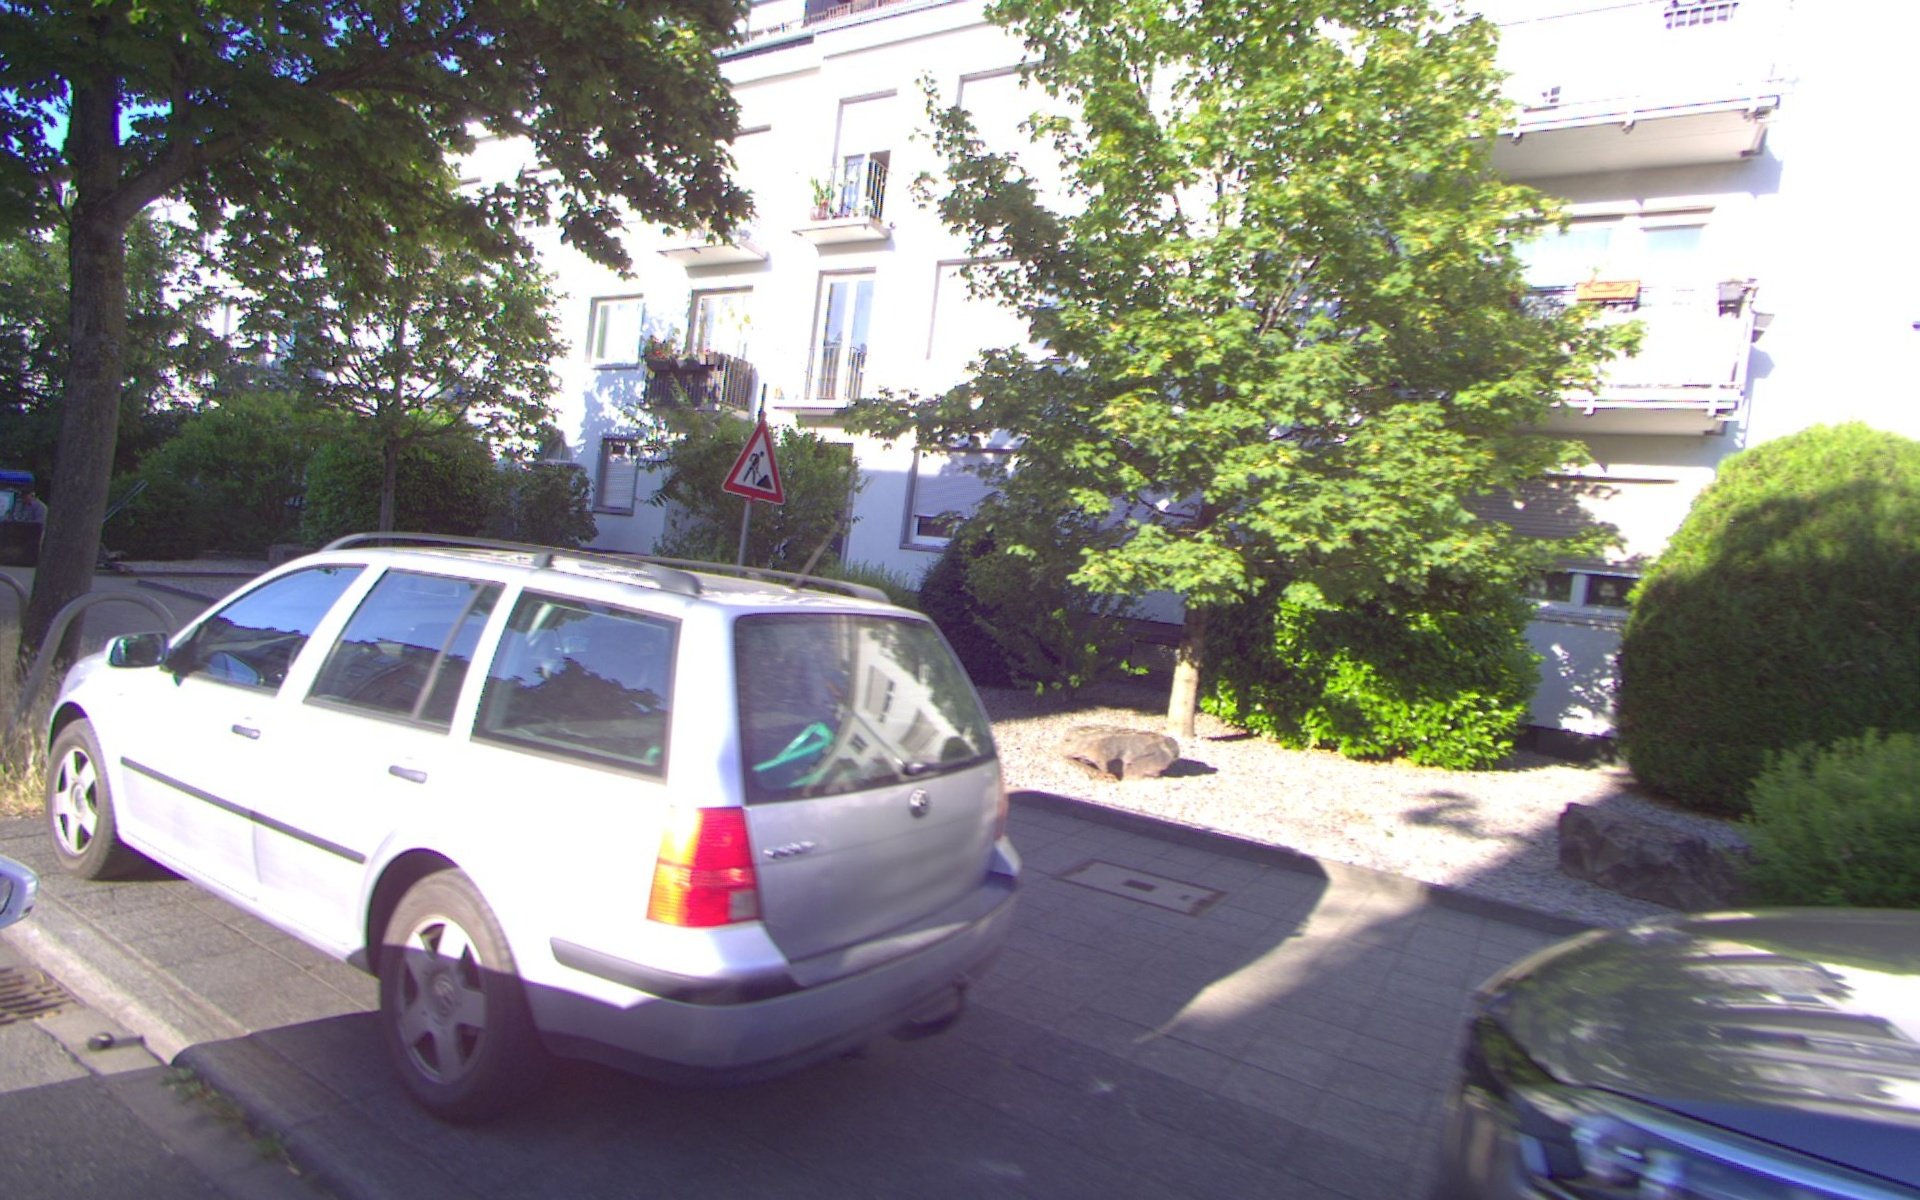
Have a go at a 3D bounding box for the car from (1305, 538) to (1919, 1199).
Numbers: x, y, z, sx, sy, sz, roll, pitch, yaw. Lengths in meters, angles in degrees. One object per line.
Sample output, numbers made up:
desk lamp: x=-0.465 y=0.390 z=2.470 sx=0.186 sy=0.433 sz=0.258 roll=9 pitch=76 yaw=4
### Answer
car: x=2.570 y=0.962 z=1.050 sx=3.933 sy=1.589 sz=1.637 roll=8 pitch=2 yaw=32

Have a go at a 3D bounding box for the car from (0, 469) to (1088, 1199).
car: x=-1.903 y=0.472 z=3.870 sx=4.341 sy=1.510 sz=1.637 roll=8 pitch=2 yaw=31

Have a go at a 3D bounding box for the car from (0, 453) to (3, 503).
car: x=-11.721 y=-0.914 z=10.187 sx=4.742 sy=1.602 sz=1.874 roll=8 pitch=2 yaw=33

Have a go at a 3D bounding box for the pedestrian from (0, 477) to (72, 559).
pedestrian: x=-15.489 y=-1.368 z=16.823 sx=0.777 sy=1.250 sz=0.673 roll=7 pitch=1 yaw=32

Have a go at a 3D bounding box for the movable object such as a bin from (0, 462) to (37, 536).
movable object such as a bin: x=-20.588 y=-2.200 z=21.412 sx=1.123 sy=1.513 sz=1.264 roll=8 pitch=4 yaw=41
